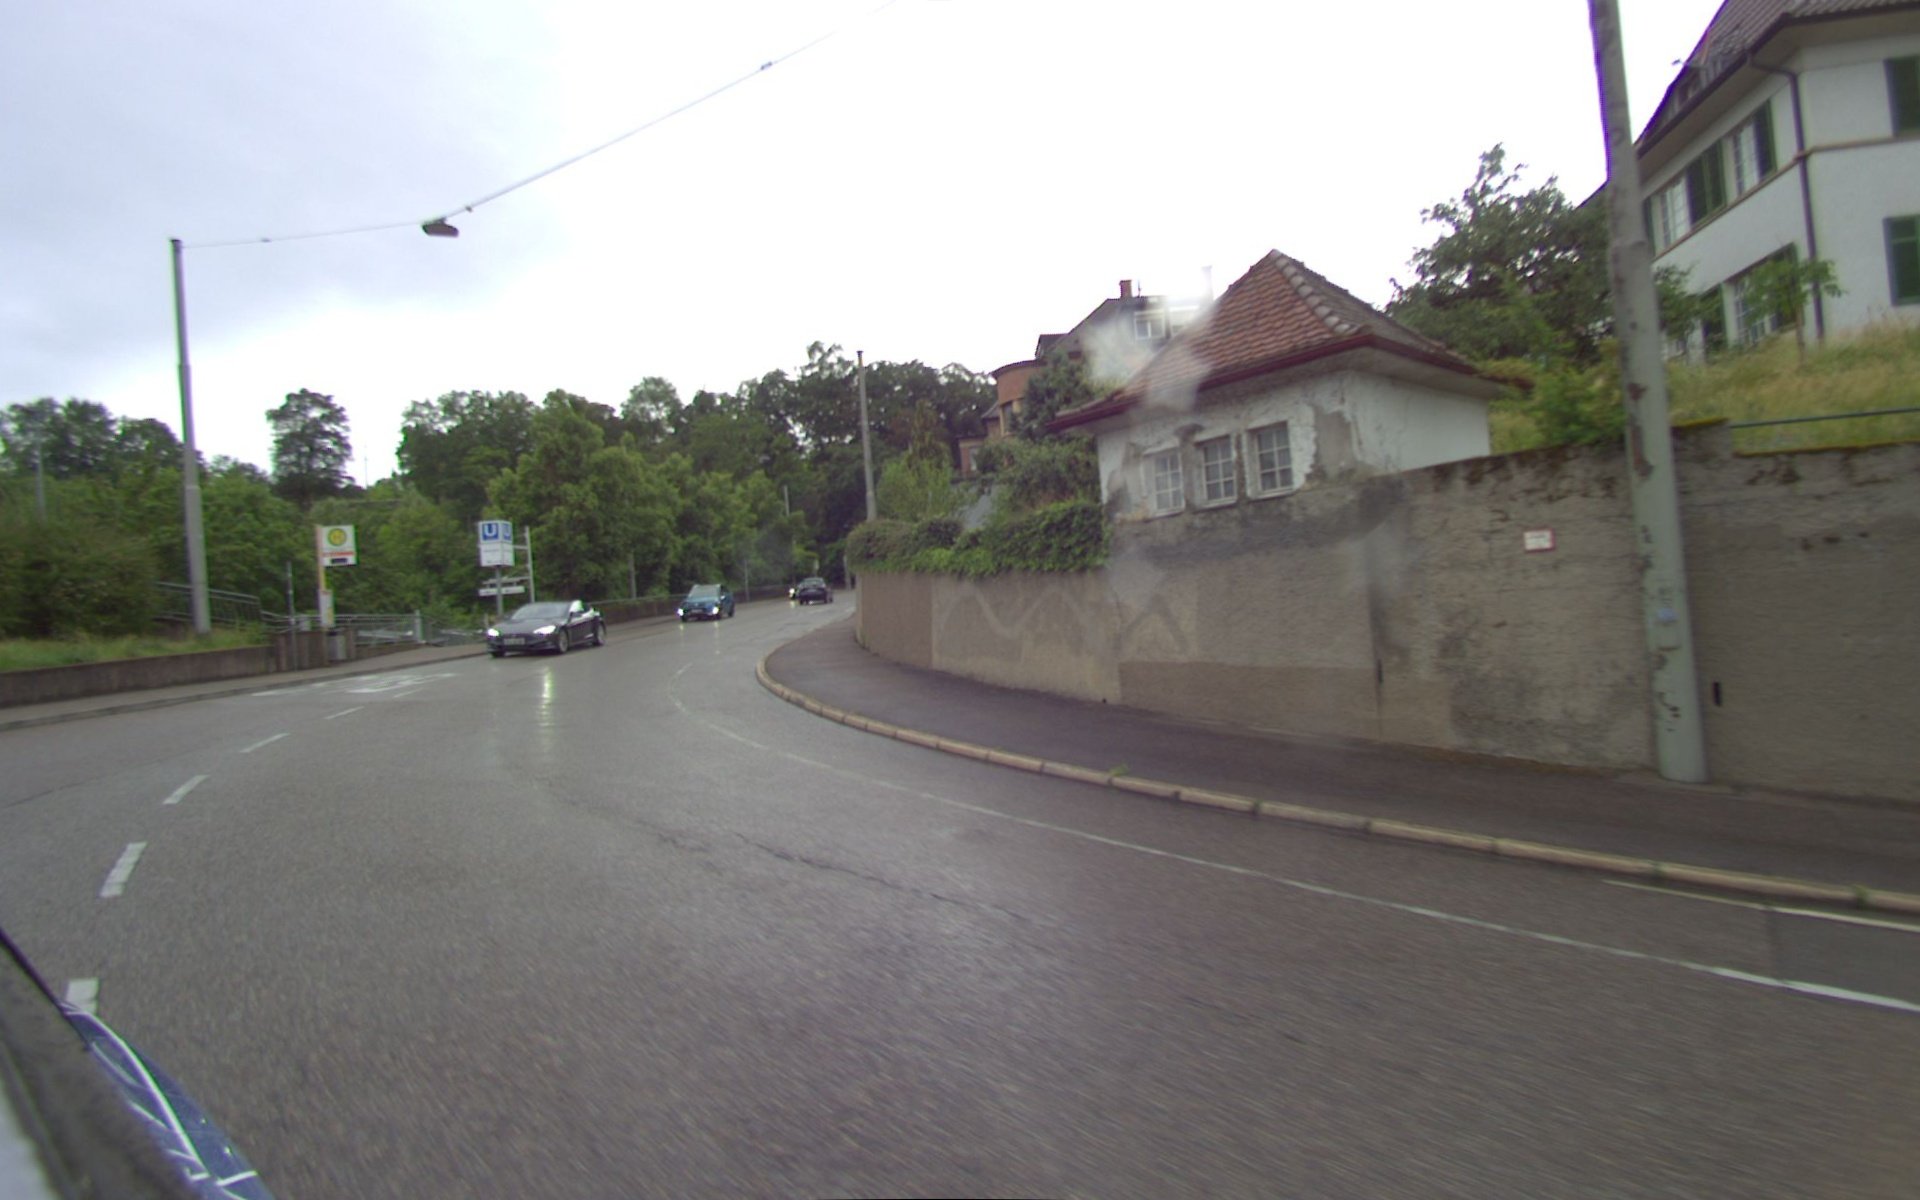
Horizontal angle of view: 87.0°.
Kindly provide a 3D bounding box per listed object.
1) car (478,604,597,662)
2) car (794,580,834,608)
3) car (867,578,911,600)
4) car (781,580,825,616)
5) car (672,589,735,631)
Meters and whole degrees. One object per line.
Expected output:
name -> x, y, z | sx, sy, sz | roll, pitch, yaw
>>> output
car -> -11.605, 0.858, 28.102 | 1.809, 1.402, 4.329 | -2, 0, -5
car -> -8.807, -0.372, 61.266 | 1.749, 1.532, 3.975 | -3, 1, 0
car -> -5.498, -0.907, 78.865 | 1.839, 1.485, 4.414 | -2, 2, 19
car -> -11.224, -0.111, 72.478 | 1.977, 2.029, 3.990 | -5, -6, 7
car -> -11.654, 0.500, 46.262 | 1.777, 1.622, 4.041 | -5, -2, -1
